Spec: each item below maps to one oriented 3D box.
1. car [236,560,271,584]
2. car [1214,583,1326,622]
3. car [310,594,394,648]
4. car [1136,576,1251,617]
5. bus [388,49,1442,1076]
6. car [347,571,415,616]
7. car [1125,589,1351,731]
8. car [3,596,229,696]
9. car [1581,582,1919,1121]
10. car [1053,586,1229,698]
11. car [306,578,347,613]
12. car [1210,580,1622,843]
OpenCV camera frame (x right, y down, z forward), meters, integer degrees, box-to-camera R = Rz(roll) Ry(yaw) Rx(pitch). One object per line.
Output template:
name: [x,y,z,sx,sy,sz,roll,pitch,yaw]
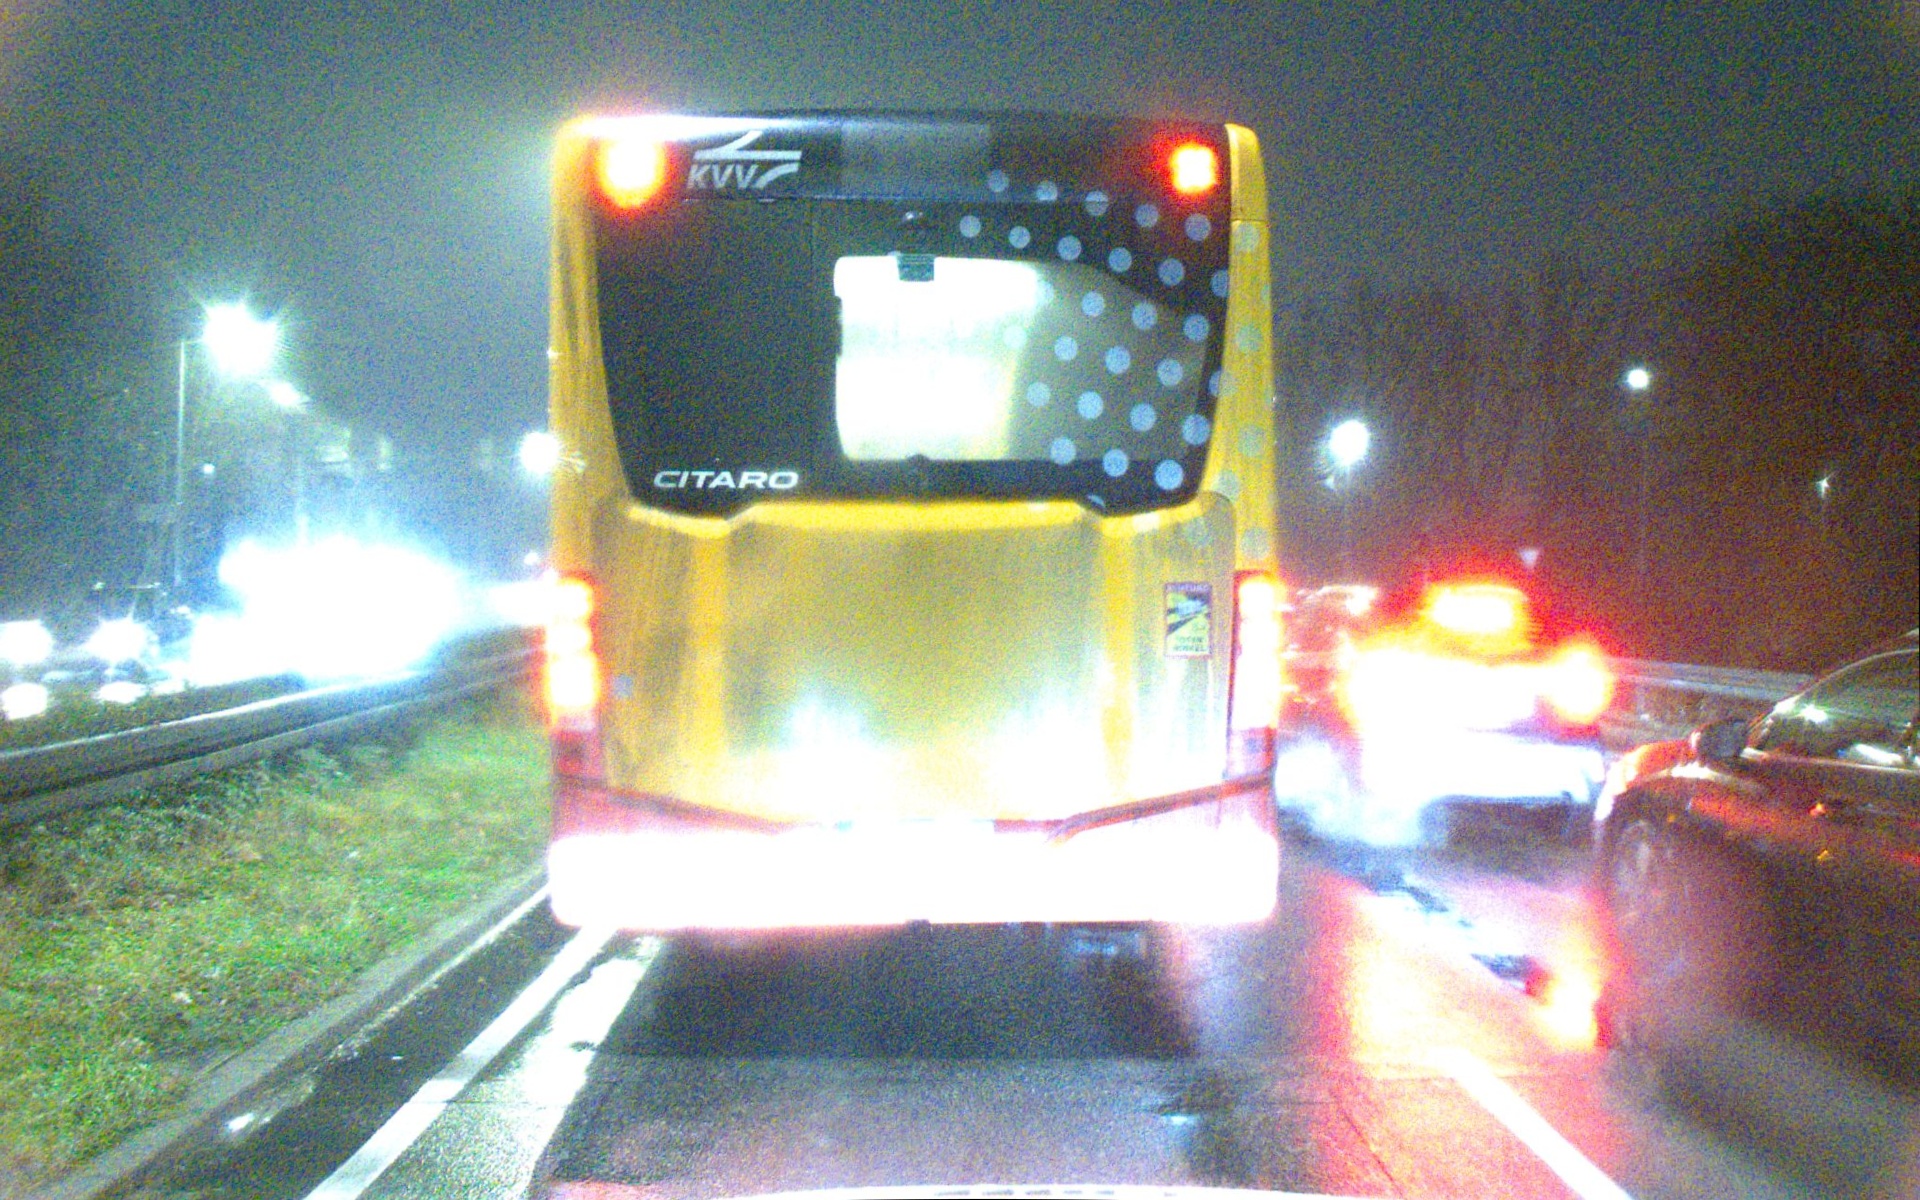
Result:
car: [-47.074,-1.866,110.171,1.723,1.528,3.960,1,0,-30]
car: [12.178,0.092,65.119,3.967,1.369,1.744,1,2,-9]
car: [-17.056,0.573,46.564,1.683,1.448,4.650,0,0,-14]
car: [9.703,-0.166,68.811,4.399,1.545,1.854,1,2,-9]
bus: [-0.303,-0.246,9.849,3.219,3.103,9.540,0,2,-2]
car: [-21.539,-0.223,61.657,1.837,1.636,4.235,0,0,-12]
car: [2.876,0.570,17.915,1.652,1.353,3.959,0,0,-2]
car: [-14.037,0.713,27.852,1.957,1.534,4.829,0,0,-9]
car: [3.567,0.749,4.899,1.639,1.532,4.558,2,0,-1]
car: [2.546,0.573,24.187,1.953,1.466,3.998,1,0,-3]
car: [-30.829,-0.247,80.516,1.739,1.659,4.226,0,1,-20]
car: [3.024,0.675,11.826,1.644,1.548,3.957,1,0,-3]
